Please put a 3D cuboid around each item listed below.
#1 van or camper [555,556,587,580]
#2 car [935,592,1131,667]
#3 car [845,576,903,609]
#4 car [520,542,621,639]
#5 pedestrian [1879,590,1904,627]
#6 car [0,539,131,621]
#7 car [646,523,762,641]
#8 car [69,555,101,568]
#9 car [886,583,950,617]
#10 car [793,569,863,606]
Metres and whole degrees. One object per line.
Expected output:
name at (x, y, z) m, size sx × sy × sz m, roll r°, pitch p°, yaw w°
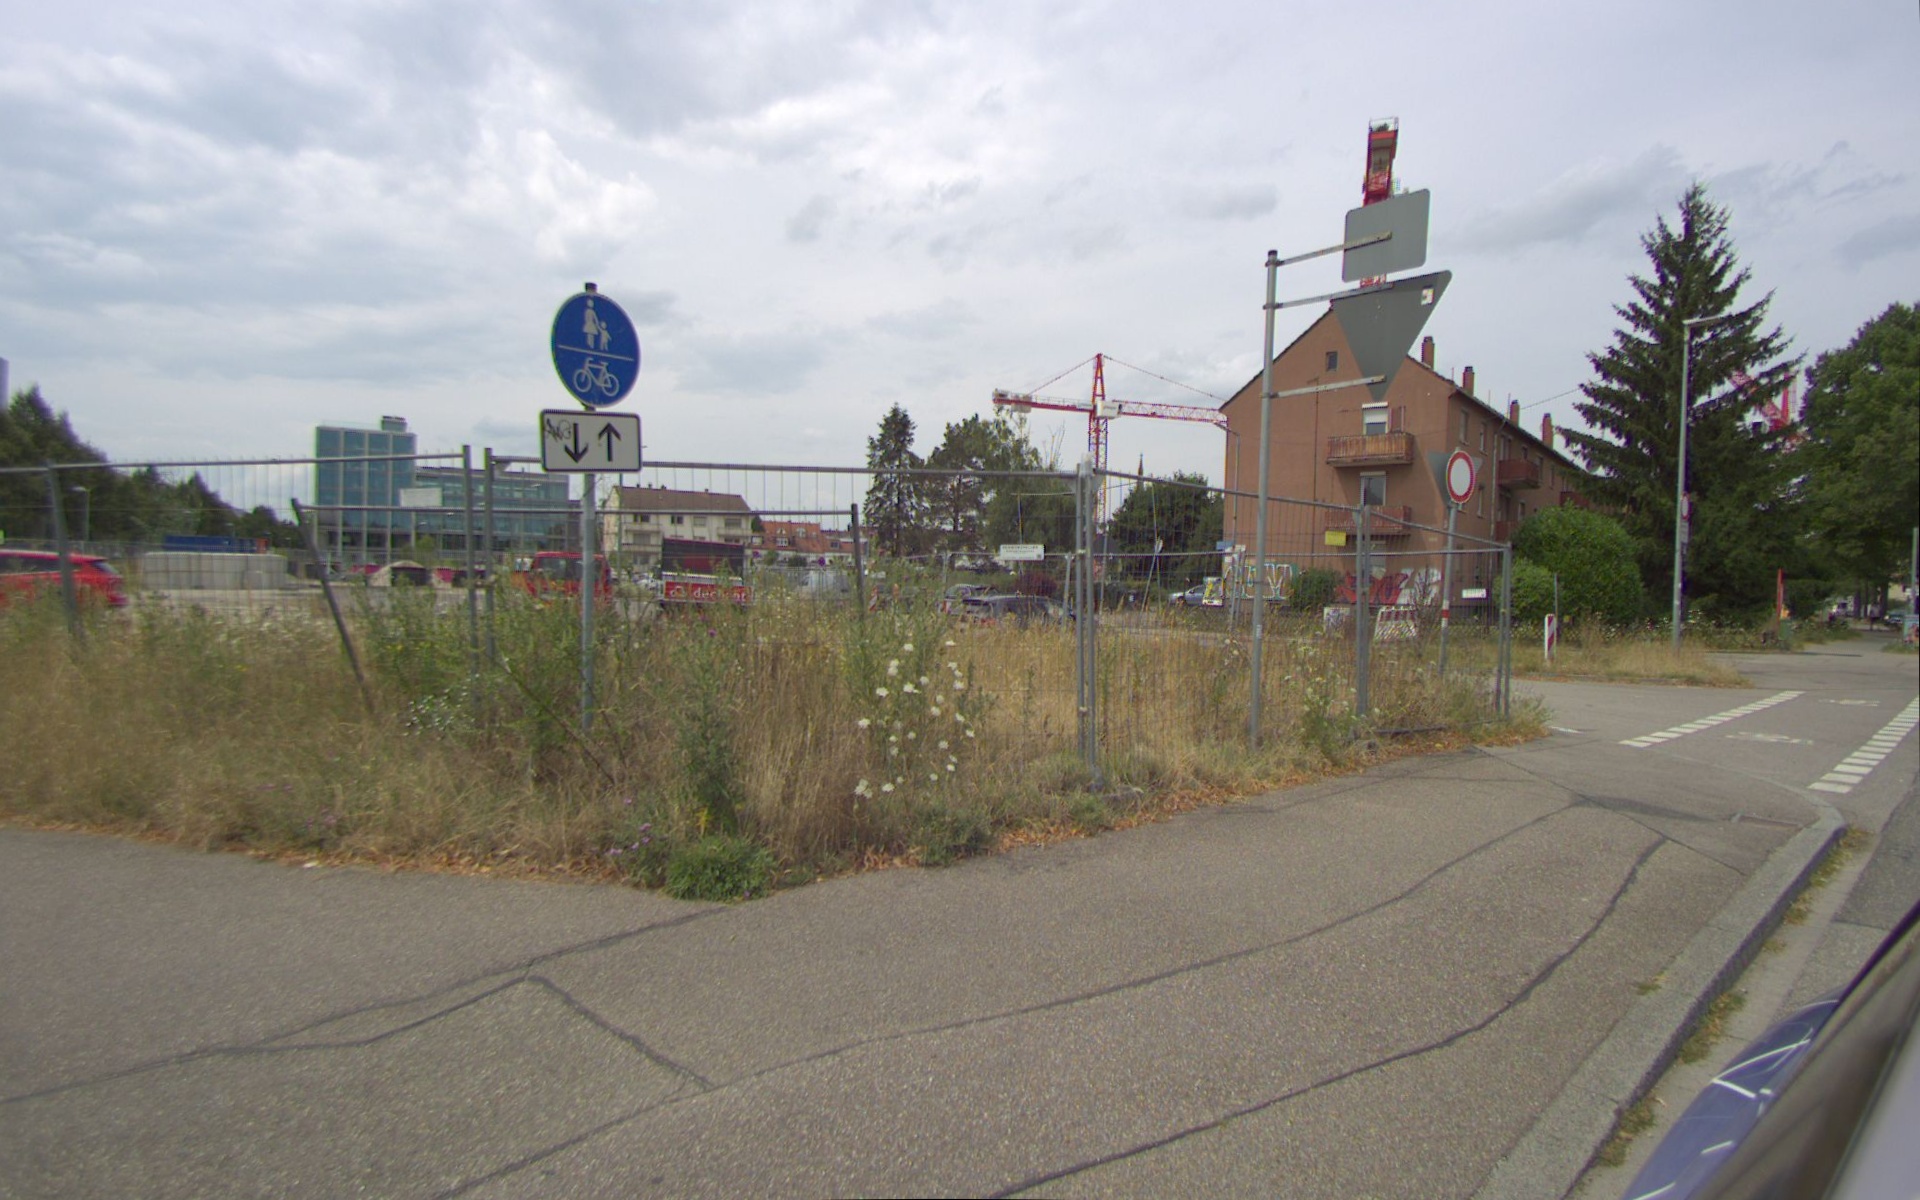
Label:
van or camper at (-45.939, -3.742, 119.374) m, size 2.307 × 2.721 × 5.247 m, roll 1°, pitch 1°, yaw -34°
car at (1.666, 0.604, 22.373) m, size 4.179 × 1.492 × 1.767 m, roll 1°, pitch 1°, yaw -37°
car at (-4.916, -0.459, 57.399) m, size 1.820 × 1.771 × 4.019 m, roll 1°, pitch 1°, yaw -29°
car at (-9.085, -0.245, 23.909) m, size 1.896 × 1.934 × 4.999 m, roll 4°, pitch 0°, yaw -19°
pedestrian at (52.285, 0.458, 56.802) m, size 0.850 × 2.039 × 0.723 m, roll 2°, pitch 0°, yaw 33°
car at (-19.923, -0.426, 20.245) m, size 5.043 × 1.624 × 1.789 m, roll 1°, pitch 1°, yaw -37°
car at (-6.356, -0.446, 24.512) m, size 2.269 × 2.442 × 6.557 m, roll 1°, pitch 1°, yaw -18°
car at (-95.179, -4.182, 110.129) m, size 1.960 × 1.391 × 4.005 m, roll 1°, pitch 1°, yaw -30°
car at (-2.246, -0.024, 53.046) m, size 1.765 × 1.622 × 4.020 m, roll 1°, pitch 1°, yaw -28°
car at (-8.137, -0.808, 62.083) m, size 2.107 × 2.163 × 4.909 m, roll 1°, pitch 1°, yaw -36°
